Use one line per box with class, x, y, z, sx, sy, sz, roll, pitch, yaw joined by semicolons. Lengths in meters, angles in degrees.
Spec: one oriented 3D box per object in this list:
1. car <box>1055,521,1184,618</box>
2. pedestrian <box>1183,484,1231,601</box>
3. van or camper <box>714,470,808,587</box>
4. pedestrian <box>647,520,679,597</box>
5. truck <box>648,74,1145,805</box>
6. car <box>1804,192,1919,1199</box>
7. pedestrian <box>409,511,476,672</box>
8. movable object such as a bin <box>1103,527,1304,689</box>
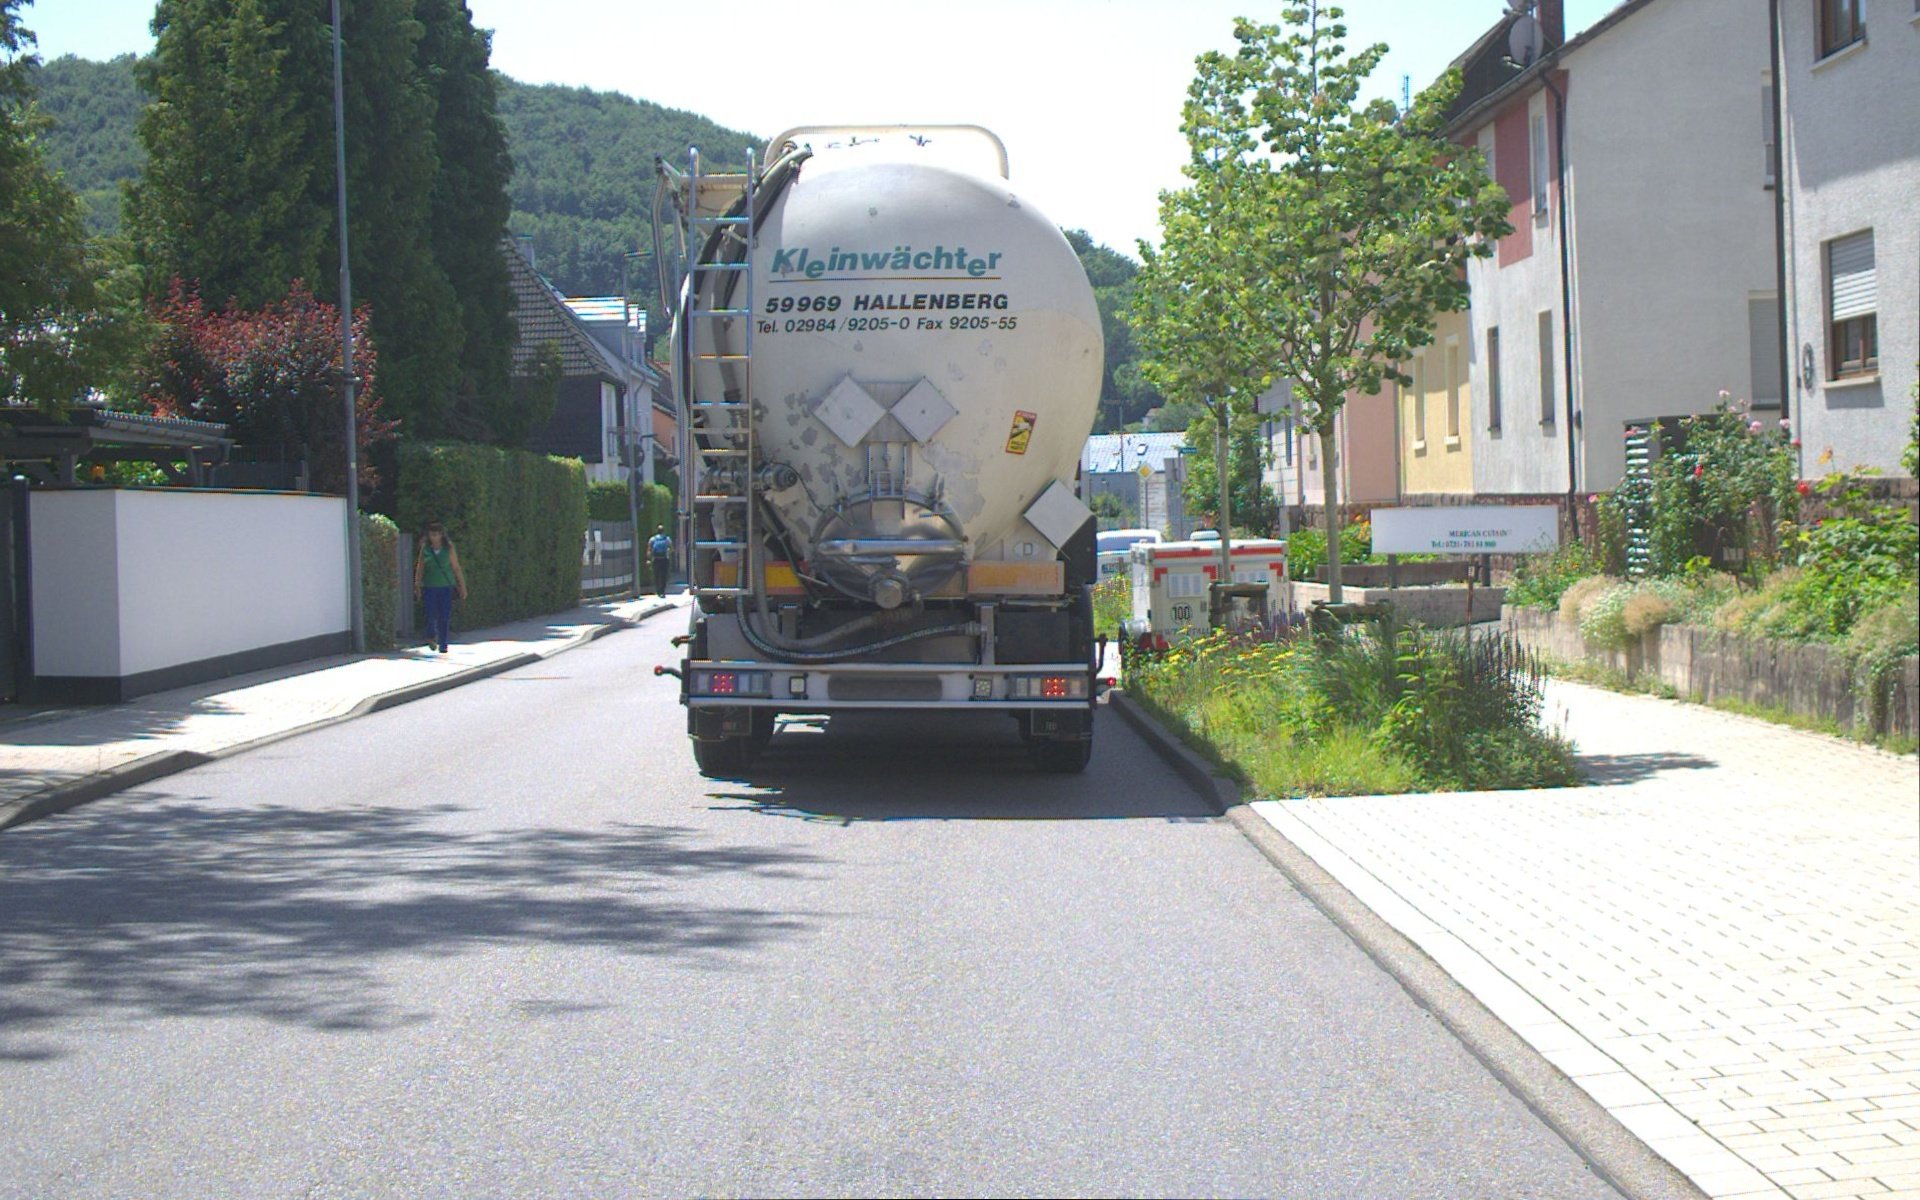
car;2.539;-0.462;55.686;1.756;1.413;4.633;-3;0;-1
pedestrian;4.298;-0.990;59.775;0.746;2.007;1.033;1;0;1
van or camper;-4.796;-1.679;83.521;2.037;2.704;5.824;1;0;-1
pedestrian;-7.119;-0.984;82.416;0.712;1.817;0.898;1;0;-4
truck;-0.459;-0.989;24.482;2.750;4.043;10.890;0;1;-1
car;2.580;0.343;2.592;2.189;2.007;5.623;-5;0;-2
pedestrian;-6.528;-0.112;43.395;0.720;2.007;0.804;1;0;-1
movable object such as a bin;2.246;0.070;32.305;1.571;1.412;3.042;-1;0;-1
